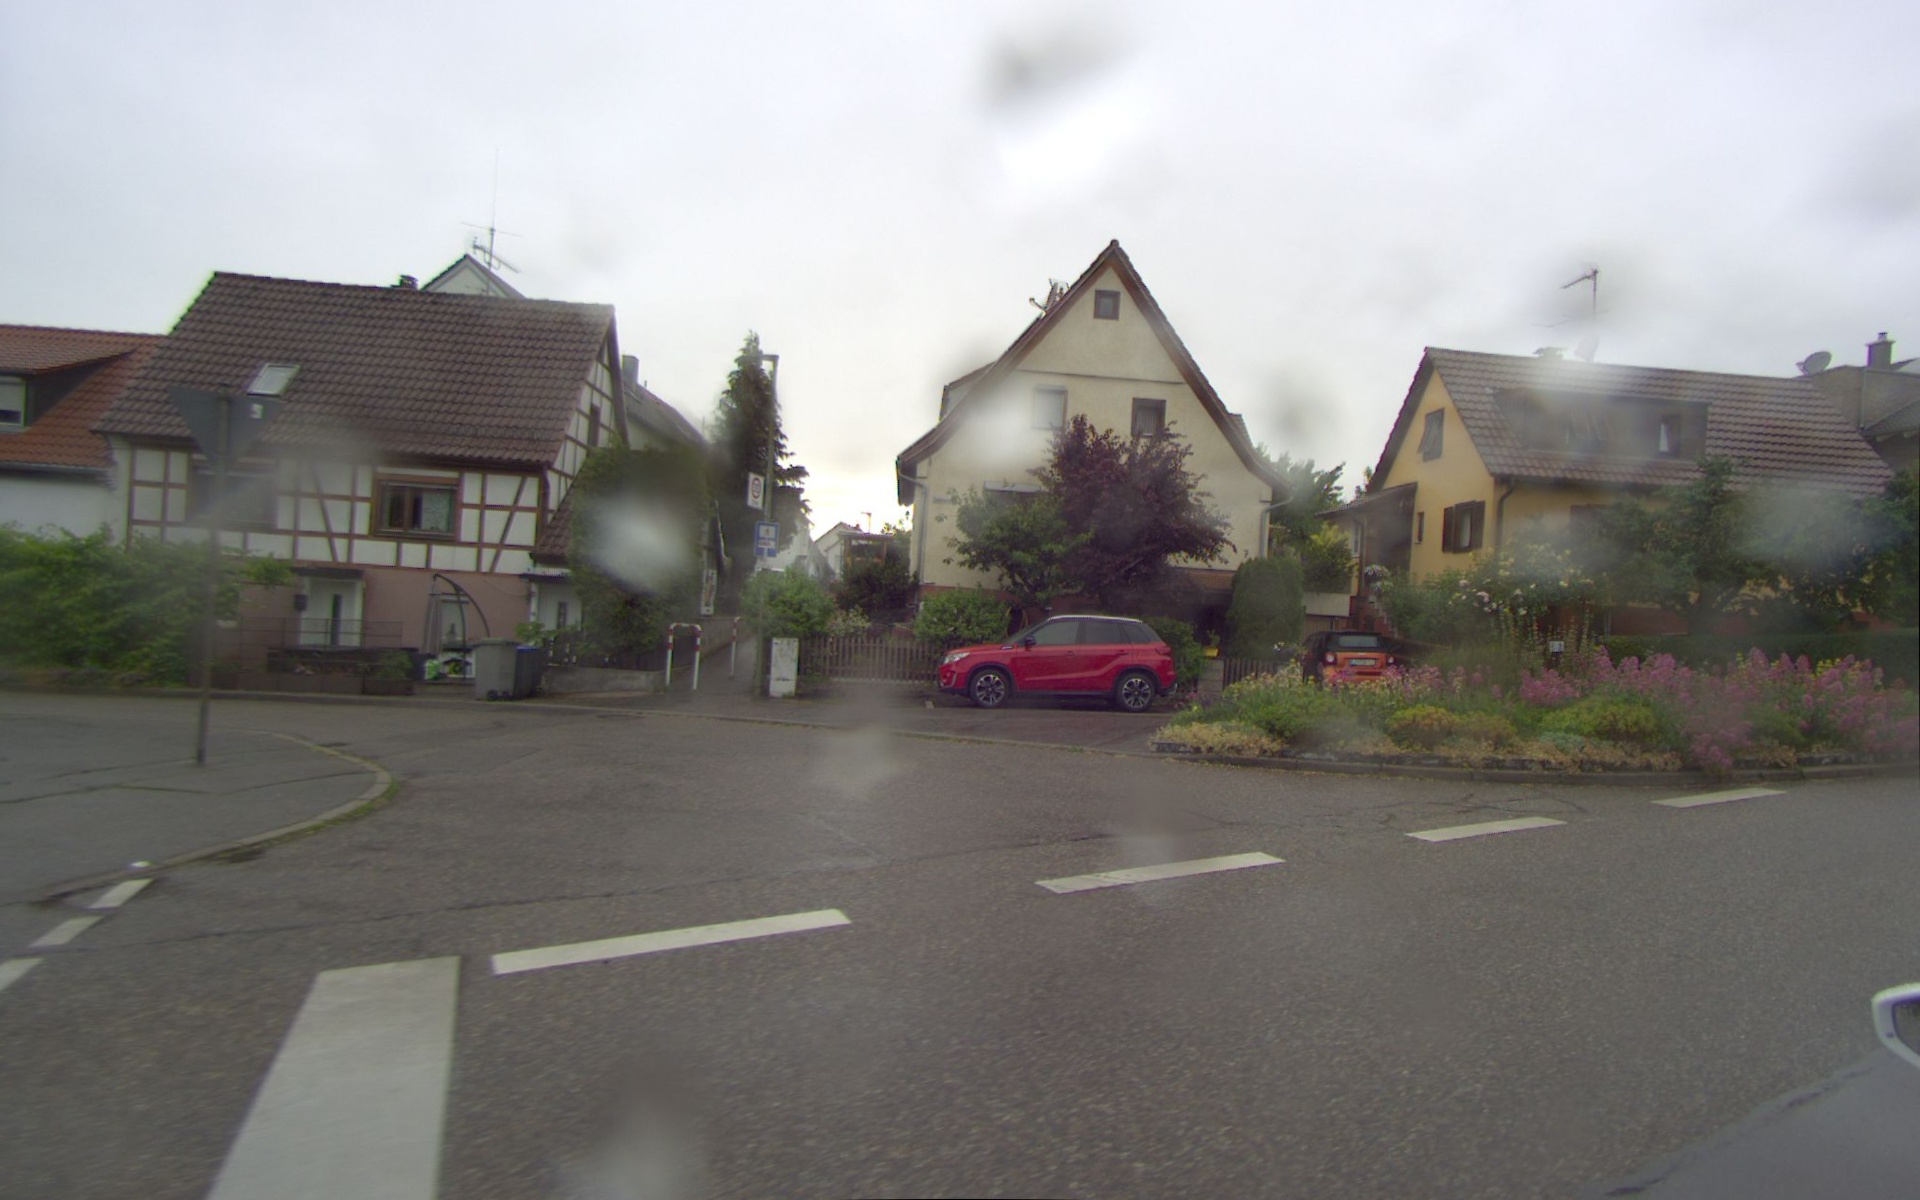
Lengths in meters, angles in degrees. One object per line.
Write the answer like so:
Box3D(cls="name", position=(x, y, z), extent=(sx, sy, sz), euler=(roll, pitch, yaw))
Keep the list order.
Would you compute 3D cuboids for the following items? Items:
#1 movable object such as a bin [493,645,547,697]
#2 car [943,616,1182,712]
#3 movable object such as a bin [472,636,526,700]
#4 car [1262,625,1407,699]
Box3D(cls="movable object such as a bin", position=(-7.893, 1.266, 18.042), extent=(0.638, 0.899, 0.704), euler=(0, -1, 1))
Box3D(cls="car", position=(1.705, 1.079, 17.559), extent=(3.941, 1.583, 1.754), euler=(0, -1, -4))
Box3D(cls="movable object such as a bin", position=(-7.929, 1.162, 17.285), extent=(0.638, 1.059, 0.579), euler=(0, -1, 1))
Box3D(cls="car", position=(8.043, 1.290, 21.972), extent=(1.826, 1.402, 4.001), euler=(0, -1, 2))
